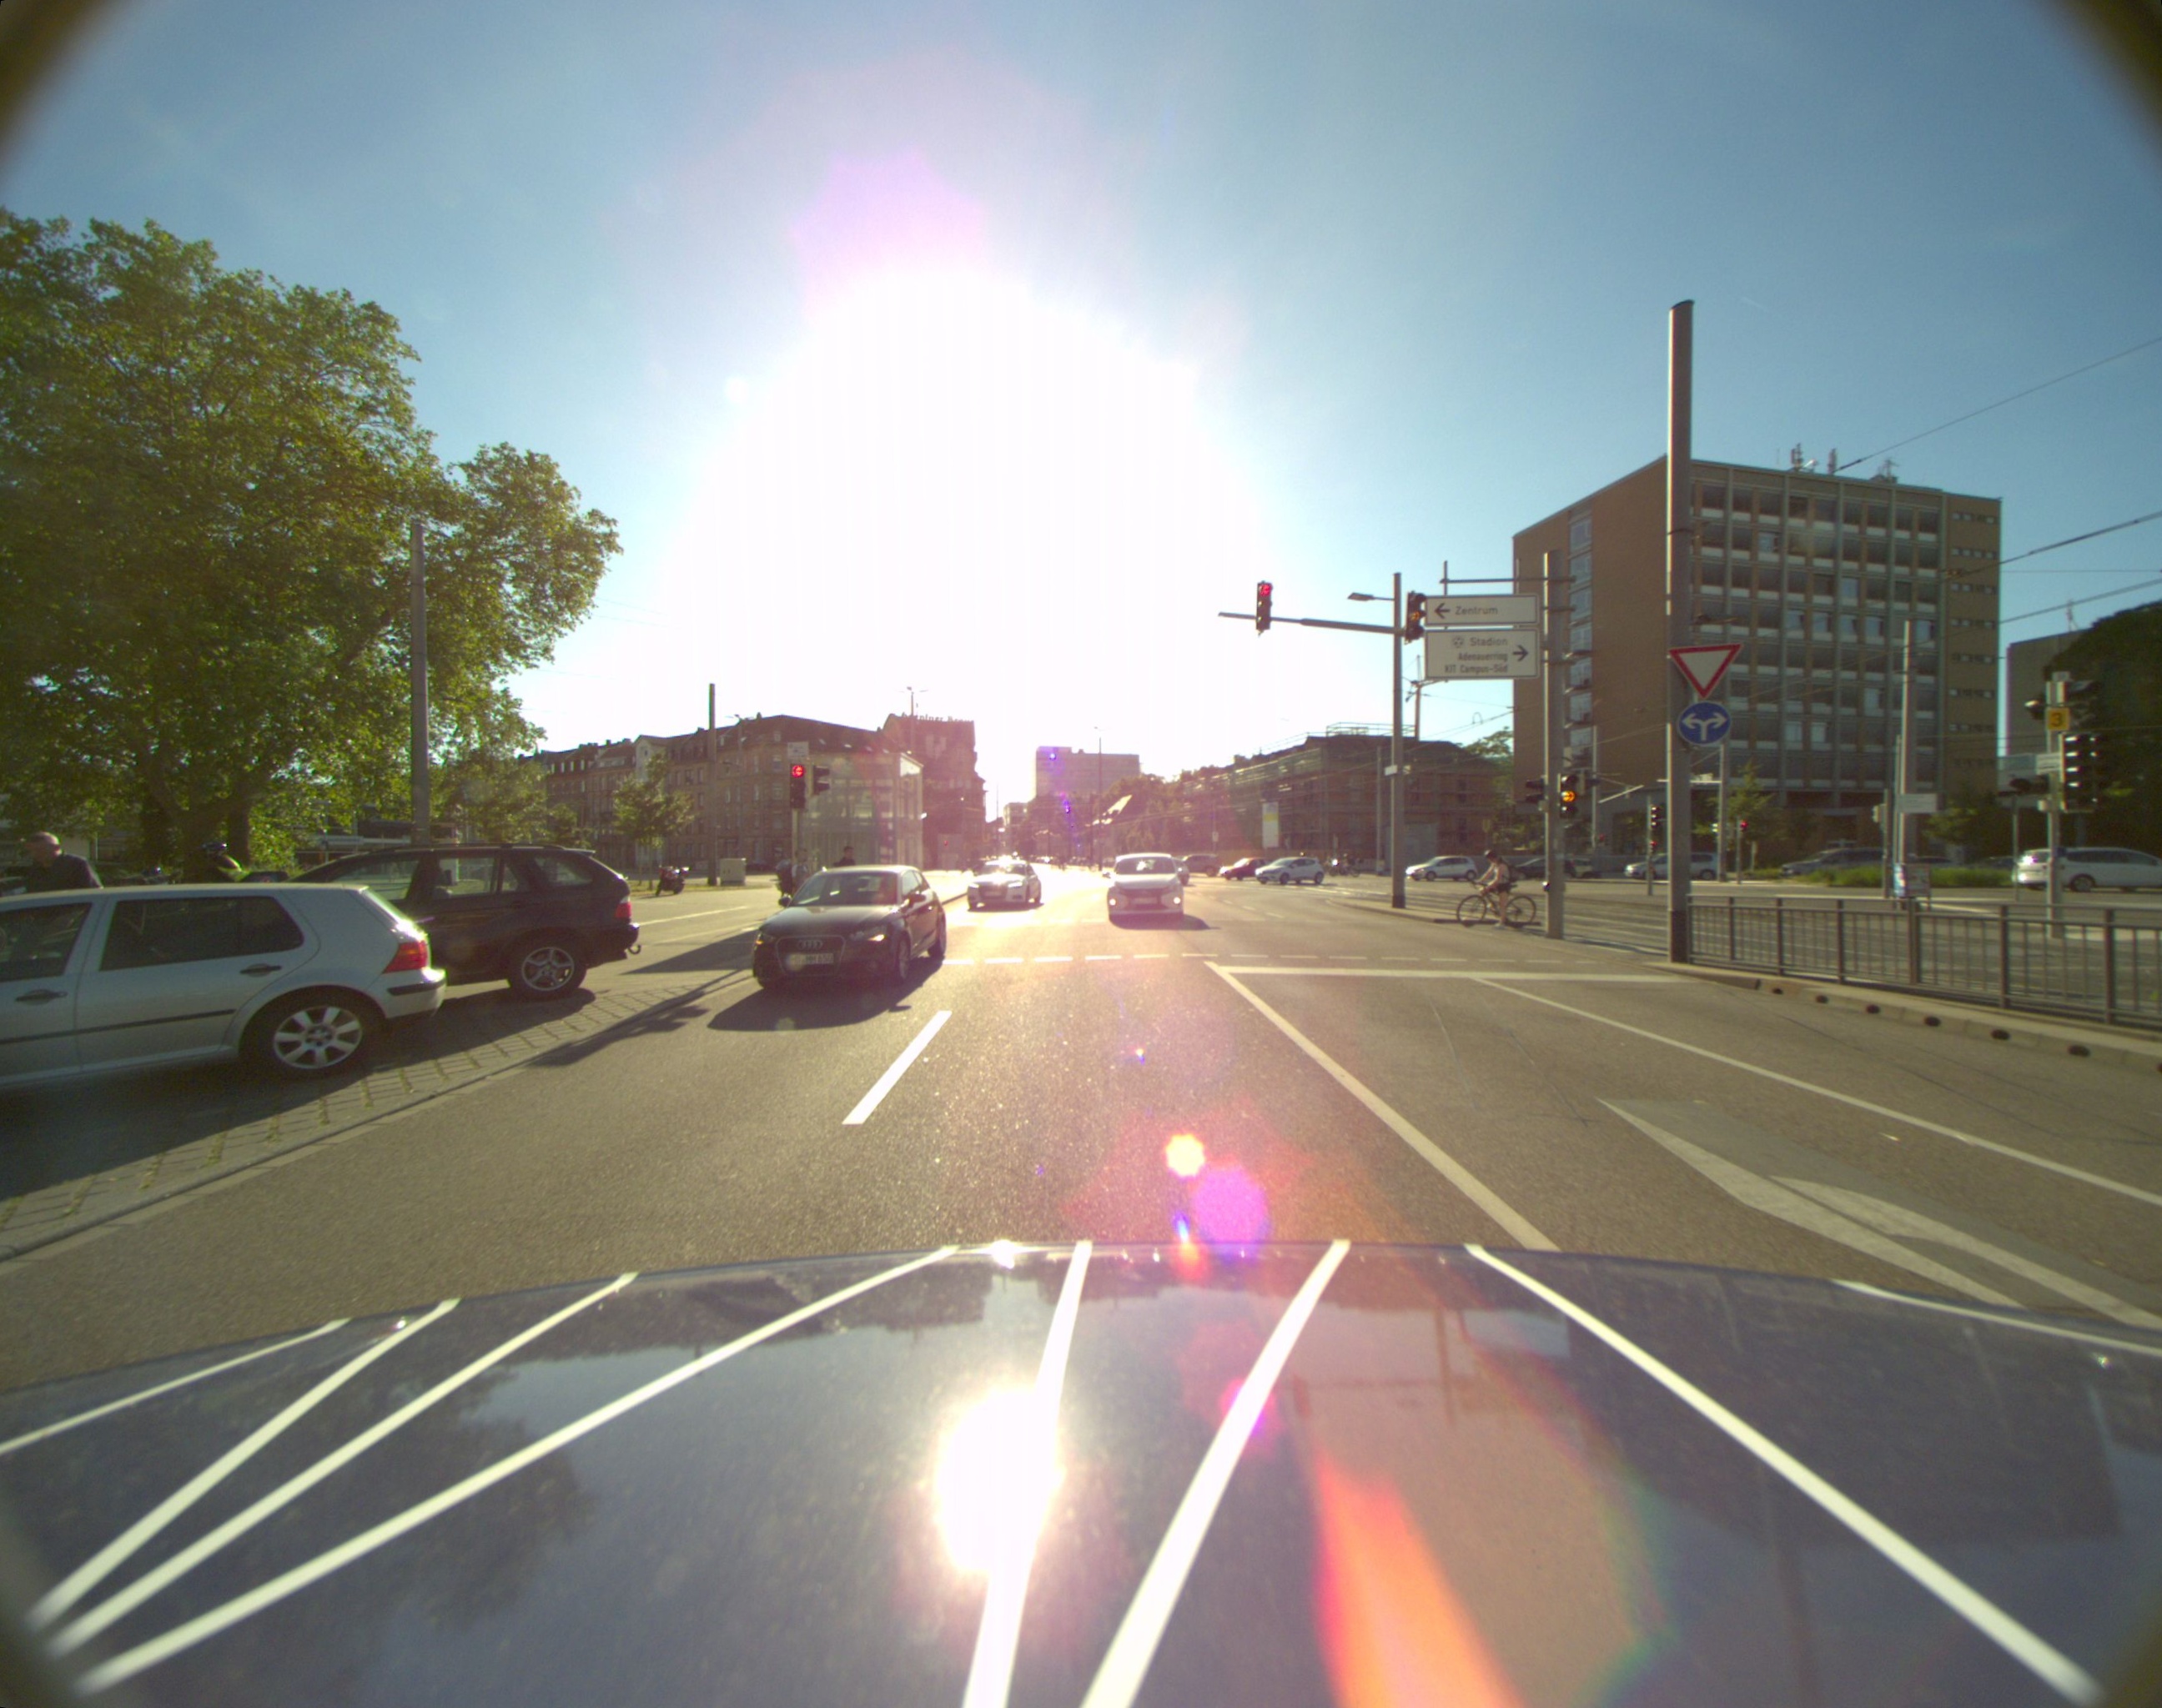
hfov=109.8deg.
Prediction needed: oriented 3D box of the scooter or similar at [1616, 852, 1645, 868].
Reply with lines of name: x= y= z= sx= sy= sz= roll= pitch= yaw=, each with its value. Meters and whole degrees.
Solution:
scooter or similar: x=43.872 y=0.496 z=60.650 sx=0.801 sy=1.239 sz=1.704 roll=2 pitch=-2 yaw=-27

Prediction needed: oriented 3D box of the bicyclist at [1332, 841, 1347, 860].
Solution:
bicyclist: x=21.919 y=-0.277 z=64.353 sx=1.014 sy=1.579 sz=0.695 roll=2 pitch=5 yaw=35

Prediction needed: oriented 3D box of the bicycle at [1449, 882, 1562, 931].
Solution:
bicycle: x=8.775 y=1.070 z=15.756 sx=1.894 sy=0.936 sz=0.815 roll=1 pitch=1 yaw=-5

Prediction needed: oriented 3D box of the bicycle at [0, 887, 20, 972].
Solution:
bicycle: x=-16.795 y=1.100 z=10.966 sx=1.899 sy=1.241 sz=0.659 roll=1 pitch=1 yaw=-3

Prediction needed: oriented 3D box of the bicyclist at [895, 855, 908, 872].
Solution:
bicyclist: x=-18.102 y=0.993 z=76.540 sx=0.972 sy=1.685 sz=0.770 roll=0 pitch=0 yaw=33

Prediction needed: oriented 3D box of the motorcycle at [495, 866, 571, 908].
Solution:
motorcycle: x=-15.467 y=0.906 z=21.496 sx=0.880 sy=1.040 sz=1.803 roll=1 pitch=2 yaw=-2

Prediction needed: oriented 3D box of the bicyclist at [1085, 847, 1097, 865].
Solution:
bicyclist: x=0.929 y=0.211 z=72.576 sx=0.973 sy=1.651 sz=0.649 roll=0 pitch=-2 yaw=15

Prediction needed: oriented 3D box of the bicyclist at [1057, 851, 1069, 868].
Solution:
bicyclist: x=-1.680 y=0.549 z=71.798 sx=0.973 sy=1.559 sz=0.649 roll=0 pitch=-2 yaw=16

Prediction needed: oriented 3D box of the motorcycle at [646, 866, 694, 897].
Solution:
motorcycle: x=-15.192 y=0.991 z=28.154 sx=1.041 sy=1.067 sz=2.279 roll=1 pitch=0 yaw=-15

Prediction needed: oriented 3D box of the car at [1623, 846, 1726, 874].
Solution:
car: x=37.088 y=0.388 z=47.649 sx=4.697 sy=1.673 sz=2.004 roll=0 pitch=-2 yaw=19

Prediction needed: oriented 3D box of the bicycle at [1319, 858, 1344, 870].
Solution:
bicycle: x=21.101 y=0.842 z=63.934 sx=1.875 sy=0.965 sz=0.713 roll=1 pitch=4 yaw=28

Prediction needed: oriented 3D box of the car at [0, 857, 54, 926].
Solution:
car: x=-23.723 y=0.734 z=14.762 sx=1.855 sy=1.473 sz=4.228 roll=1 pitch=-2 yaw=-3

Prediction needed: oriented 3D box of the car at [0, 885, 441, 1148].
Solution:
car: x=-6.967 y=1.048 z=5.118 sx=3.900 sy=1.391 sz=1.784 roll=-3 pitch=1 yaw=-44

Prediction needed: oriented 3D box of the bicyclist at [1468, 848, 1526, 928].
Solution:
bicyclist: x=8.598 y=0.692 z=15.729 sx=0.676 sy=1.607 sz=0.815 roll=1 pitch=1 yaw=-5

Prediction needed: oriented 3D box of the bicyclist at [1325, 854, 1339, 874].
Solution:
bicyclist: x=21.101 y=0.855 z=63.941 sx=1.014 sy=1.579 sz=0.695 roll=1 pitch=5 yaw=28

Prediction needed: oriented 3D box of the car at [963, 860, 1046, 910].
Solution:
car: x=-2.297 y=0.906 z=23.950 sx=1.825 sy=1.380 sz=4.459 roll=0 pitch=0 yaw=5

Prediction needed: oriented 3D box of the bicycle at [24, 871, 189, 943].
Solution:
bicycle: x=-18.965 y=1.019 z=14.829 sx=1.998 sy=1.338 sz=0.815 roll=1 pitch=1 yaw=-5

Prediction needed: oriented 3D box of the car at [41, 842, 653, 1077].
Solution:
car: x=-7.256 y=0.833 z=8.175 sx=4.259 sy=1.803 sz=1.955 roll=-2 pitch=1 yaw=-41

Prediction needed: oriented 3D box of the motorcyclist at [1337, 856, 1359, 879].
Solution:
motorcyclist: x=19.214 y=0.969 z=54.626 sx=1.451 sy=1.657 sz=1.120 roll=0 pitch=-2 yaw=21

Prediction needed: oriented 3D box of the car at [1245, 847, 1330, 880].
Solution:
car: x=11.345 y=0.475 z=41.750 sx=4.289 sy=1.666 sz=1.995 roll=-1 pitch=1 yaw=-28

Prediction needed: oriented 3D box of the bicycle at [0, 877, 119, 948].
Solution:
bicycle: x=-19.067 y=1.048 z=13.801 sx=1.998 sy=1.193 sz=0.815 roll=1 pitch=1 yaw=-5

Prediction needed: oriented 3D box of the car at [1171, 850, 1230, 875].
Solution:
car: x=8.946 y=0.635 z=56.939 sx=3.991 sy=1.598 sz=2.002 roll=-2 pitch=3 yaw=21

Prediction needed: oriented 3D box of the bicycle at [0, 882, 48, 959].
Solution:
bicycle: x=-18.987 y=1.116 z=12.752 sx=1.998 sy=1.241 sz=0.815 roll=1 pitch=1 yaw=-5

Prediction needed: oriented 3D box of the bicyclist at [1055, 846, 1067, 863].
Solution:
bicyclist: x=-1.991 y=0.046 z=76.296 sx=0.972 sy=1.685 sz=0.649 roll=0 pitch=0 yaw=28

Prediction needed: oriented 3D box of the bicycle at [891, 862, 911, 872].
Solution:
bicycle: x=-18.128 y=1.300 z=76.562 sx=2.099 sy=1.021 sz=0.770 roll=0 pitch=0 yaw=34

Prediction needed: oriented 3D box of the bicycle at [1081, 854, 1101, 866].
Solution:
bicycle: x=0.989 y=0.575 z=72.538 sx=1.772 sy=1.116 sz=0.649 roll=0 pitch=-2 yaw=15

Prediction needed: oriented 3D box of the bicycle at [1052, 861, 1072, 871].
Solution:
bicycle: x=-1.908 y=1.218 z=76.255 sx=1.902 sy=1.021 sz=0.649 roll=0 pitch=0 yaw=27

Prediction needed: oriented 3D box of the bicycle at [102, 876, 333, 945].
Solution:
bicycle: x=-15.508 y=0.981 z=13.788 sx=1.032 sy=1.116 sz=2.535 roll=0 pitch=-2 yaw=18

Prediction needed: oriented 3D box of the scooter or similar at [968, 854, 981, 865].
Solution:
scooter or similar: x=-11.483 y=0.630 z=81.953 sx=0.732 sy=1.193 sz=1.442 roll=1 pitch=0 yaw=-39

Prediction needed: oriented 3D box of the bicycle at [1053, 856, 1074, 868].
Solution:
bicycle: x=-1.673 y=0.722 z=71.794 sx=1.899 sy=1.116 sz=0.649 roll=0 pitch=-2 yaw=16

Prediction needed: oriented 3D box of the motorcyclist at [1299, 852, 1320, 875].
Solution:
motorcyclist: x=17.513 y=0.739 z=58.304 sx=1.451 sy=1.657 sz=1.120 roll=0 pitch=-2 yaw=21

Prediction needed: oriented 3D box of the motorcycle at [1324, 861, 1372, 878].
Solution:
motorcycle: x=19.169 y=1.148 z=54.634 sx=3.225 sy=1.187 sz=1.120 roll=0 pitch=-2 yaw=21

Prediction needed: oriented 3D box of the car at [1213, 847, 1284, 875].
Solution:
car: x=10.653 y=0.482 z=48.447 sx=4.002 sy=1.673 sz=1.998 roll=1 pitch=-2 yaw=-14

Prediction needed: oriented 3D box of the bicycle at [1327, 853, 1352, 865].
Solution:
bicycle: x=21.905 y=0.415 z=64.422 sx=1.874 sy=0.965 sz=0.713 roll=2 pitch=5 yaw=35

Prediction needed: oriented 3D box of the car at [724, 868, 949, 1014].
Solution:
car: x=-2.946 y=0.966 z=10.046 sx=1.694 sy=1.380 sz=3.831 roll=-2 pitch=1 yaw=0
